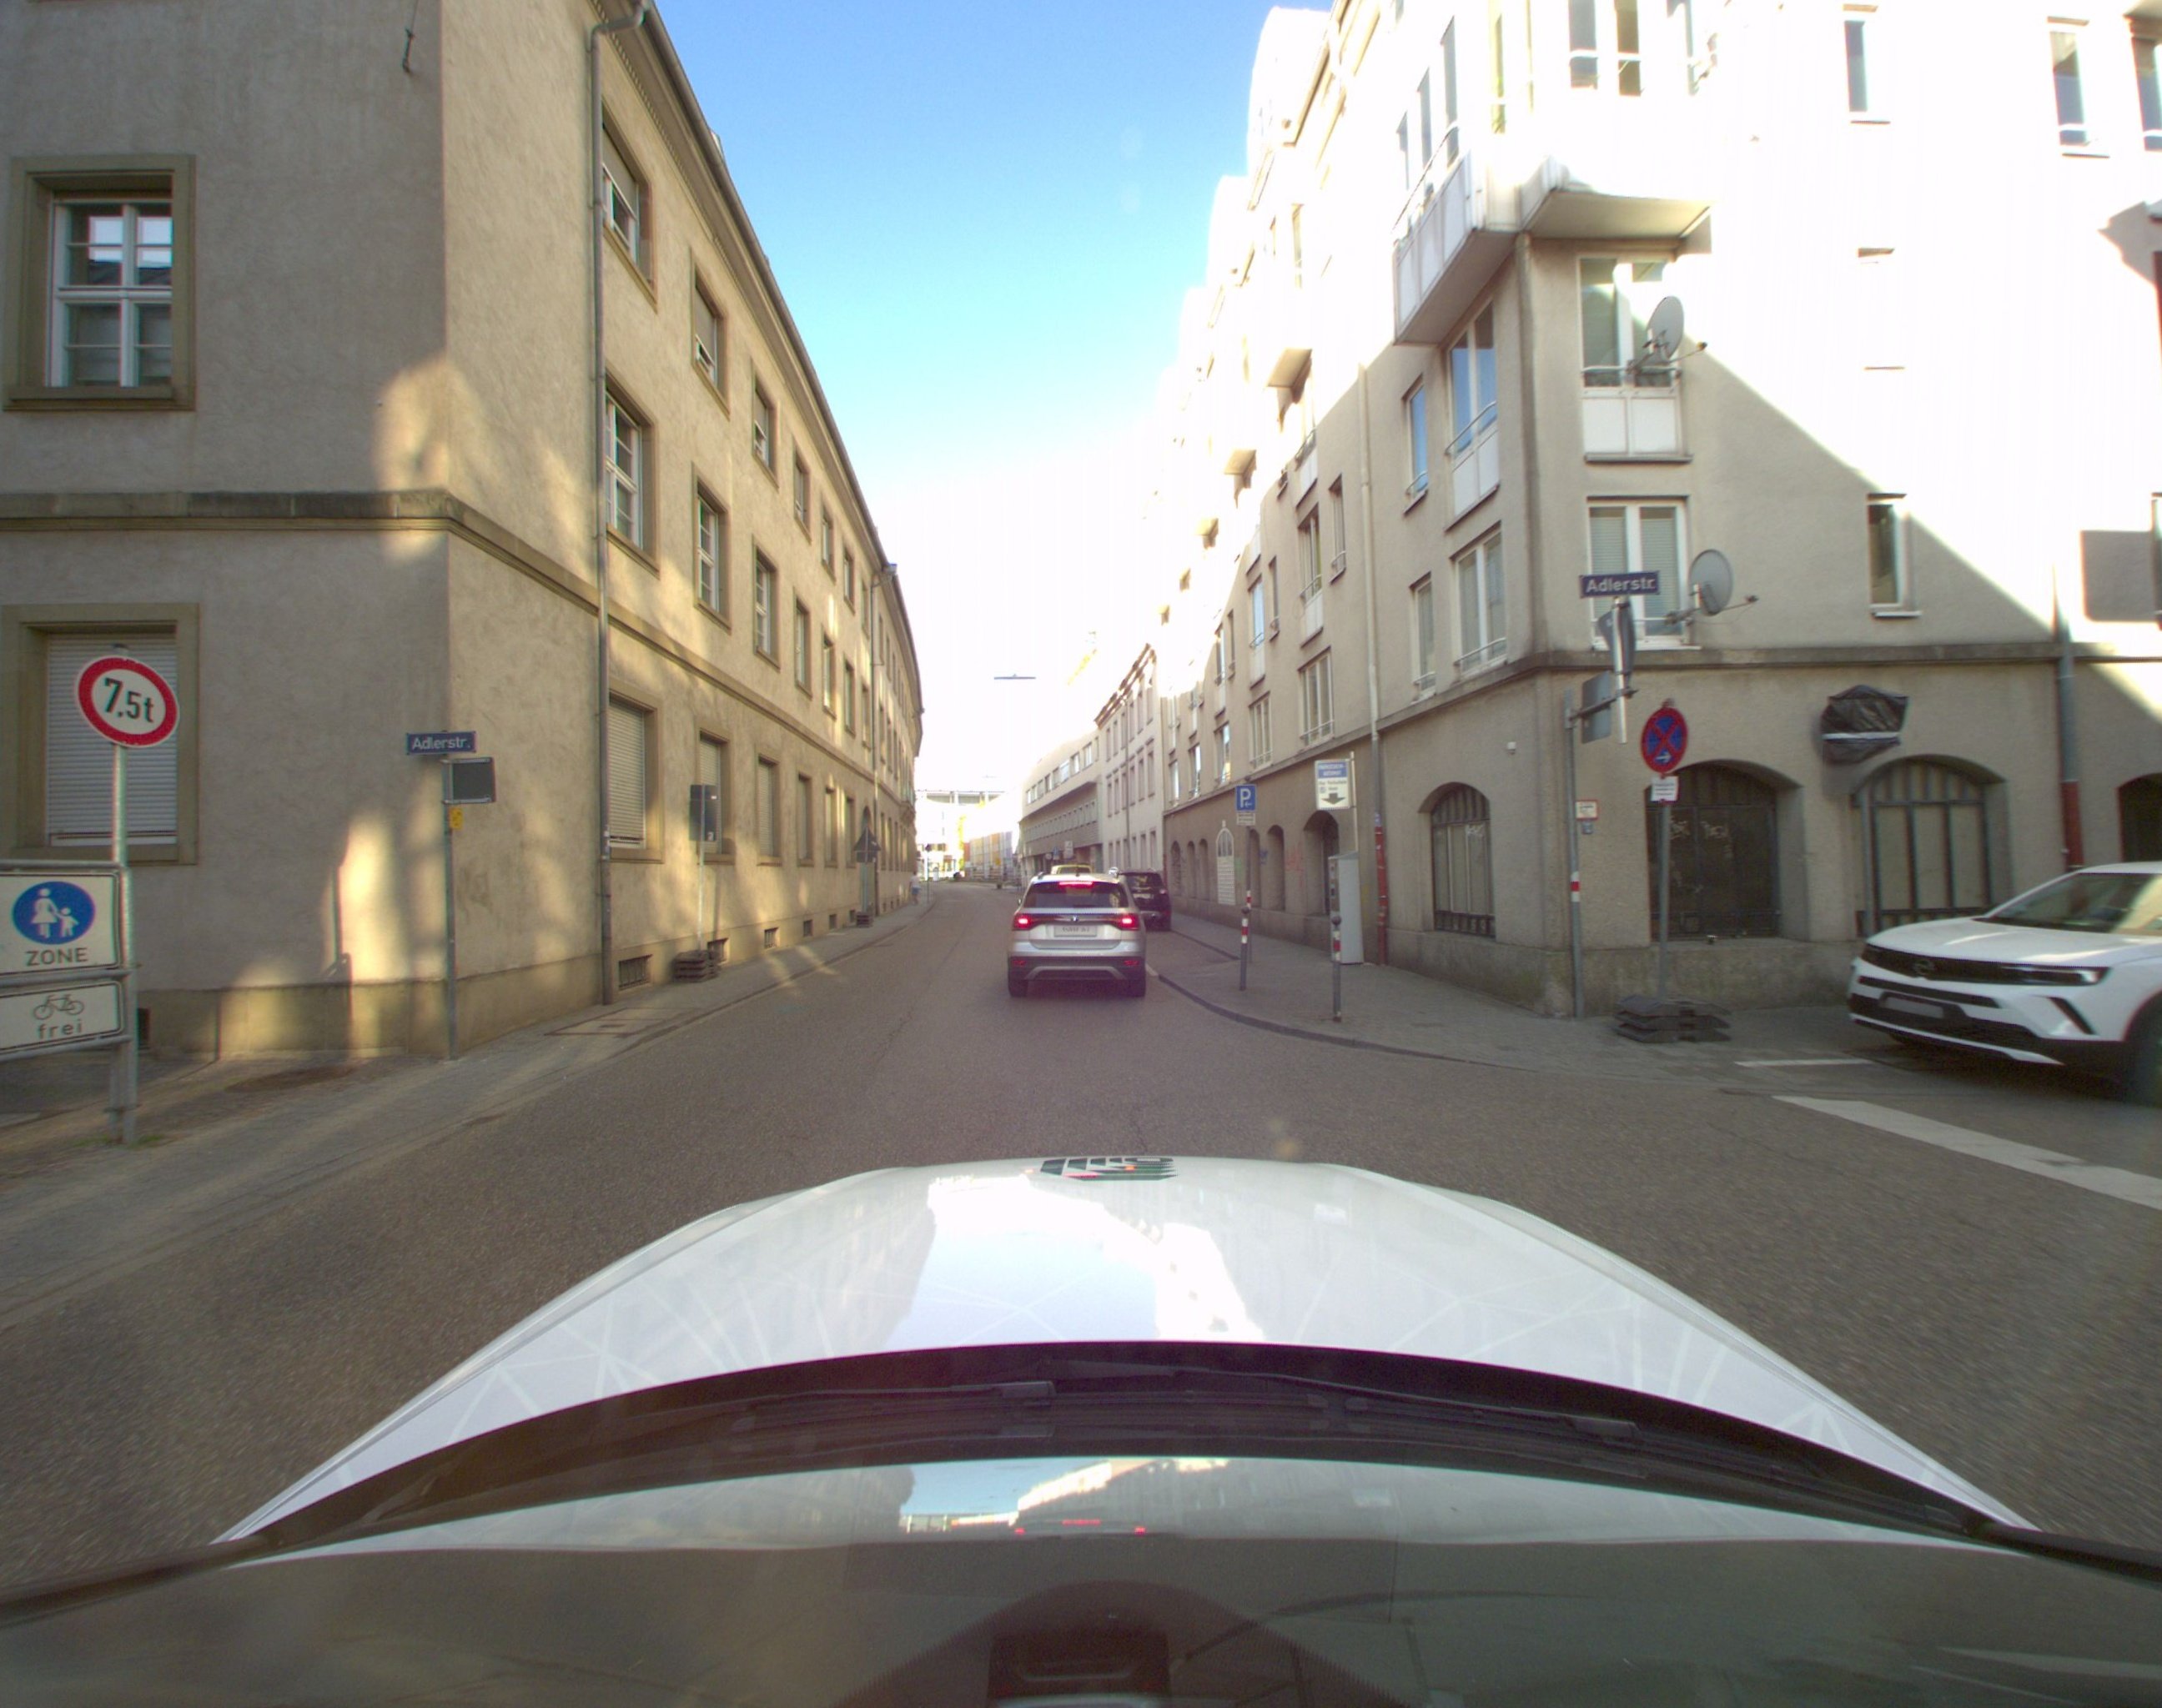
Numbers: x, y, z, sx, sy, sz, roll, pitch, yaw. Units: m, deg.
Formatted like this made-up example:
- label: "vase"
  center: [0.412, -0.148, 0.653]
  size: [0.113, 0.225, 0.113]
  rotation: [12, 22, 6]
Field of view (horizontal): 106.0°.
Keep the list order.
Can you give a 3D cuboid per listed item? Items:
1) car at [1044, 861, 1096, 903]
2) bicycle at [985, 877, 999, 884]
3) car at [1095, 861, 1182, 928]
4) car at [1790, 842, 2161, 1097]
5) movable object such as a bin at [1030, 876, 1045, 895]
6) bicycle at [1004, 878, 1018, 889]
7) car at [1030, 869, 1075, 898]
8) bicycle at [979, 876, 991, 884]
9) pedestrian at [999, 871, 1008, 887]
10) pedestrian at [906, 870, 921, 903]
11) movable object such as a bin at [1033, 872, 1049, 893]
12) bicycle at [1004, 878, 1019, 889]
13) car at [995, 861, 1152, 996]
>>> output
- label: "car"
  center: [-0.594, 1.354, 39.653]
  size: [1.882, 1.882, 4.830]
  rotation: [-1, -2, -9]
- label: "bicycle"
  center: [-12.276, 3.607, 112.438]
  size: [1.751, 0.946, 0.549]
  rotation: [-1, -1, -14]
- label: "car"
  center: [1.499, 1.090, 23.025]
  size: [1.822, 1.655, 4.486]
  rotation: [-1, -2, -4]
- label: "car"
  center: [8.005, 0.705, 5.963]
  size: [4.055, 1.568, 1.767]
  rotation: [-1, -2, 0]
- label: "movable object such as a bin"
  center: [-3.520, 2.546, 65.266]
  size: [0.982, 1.385, 1.315]
  rotation: [-3, -4, -11]
- label: "bicycle"
  center: [-8.613, 3.641, 100.495]
  size: [1.648, 1.141, 0.281]
  rotation: [-4, -1, -22]
- label: "car"
  center: [-1.642, 1.633, 45.802]
  size: [1.884, 1.489, 4.351]
  rotation: [-1, -2, -11]
- label: "bicycle"
  center: [-15.161, 4.077, 128.807]
  size: [1.814, 1.137, 0.549]
  rotation: [-2, -2, -16]
- label: "pedestrian"
  center: [-8.892, 2.870, 93.643]
  size: [0.698, 1.760, 1.183]
  rotation: [-4, -1, -14]
- label: "pedestrian"
  center: [-8.568, 1.669, 41.678]
  size: [0.693, 1.670, 0.872]
  rotation: [1, -2, -9]
- label: "movable object such as a bin"
  center: [-3.118, 2.247, 63.752]
  size: [0.982, 1.480, 1.545]
  rotation: [-3, -4, -11]
- label: "bicycle"
  center: [-8.425, 3.602, 98.977]
  size: [1.751, 1.141, 0.549]
  rotation: [-5, -1, -14]
- label: "car"
  center: [-0.006, 0.924, 11.567]
  size: [1.818, 1.559, 3.988]
  rotation: [-1, -2, 2]
